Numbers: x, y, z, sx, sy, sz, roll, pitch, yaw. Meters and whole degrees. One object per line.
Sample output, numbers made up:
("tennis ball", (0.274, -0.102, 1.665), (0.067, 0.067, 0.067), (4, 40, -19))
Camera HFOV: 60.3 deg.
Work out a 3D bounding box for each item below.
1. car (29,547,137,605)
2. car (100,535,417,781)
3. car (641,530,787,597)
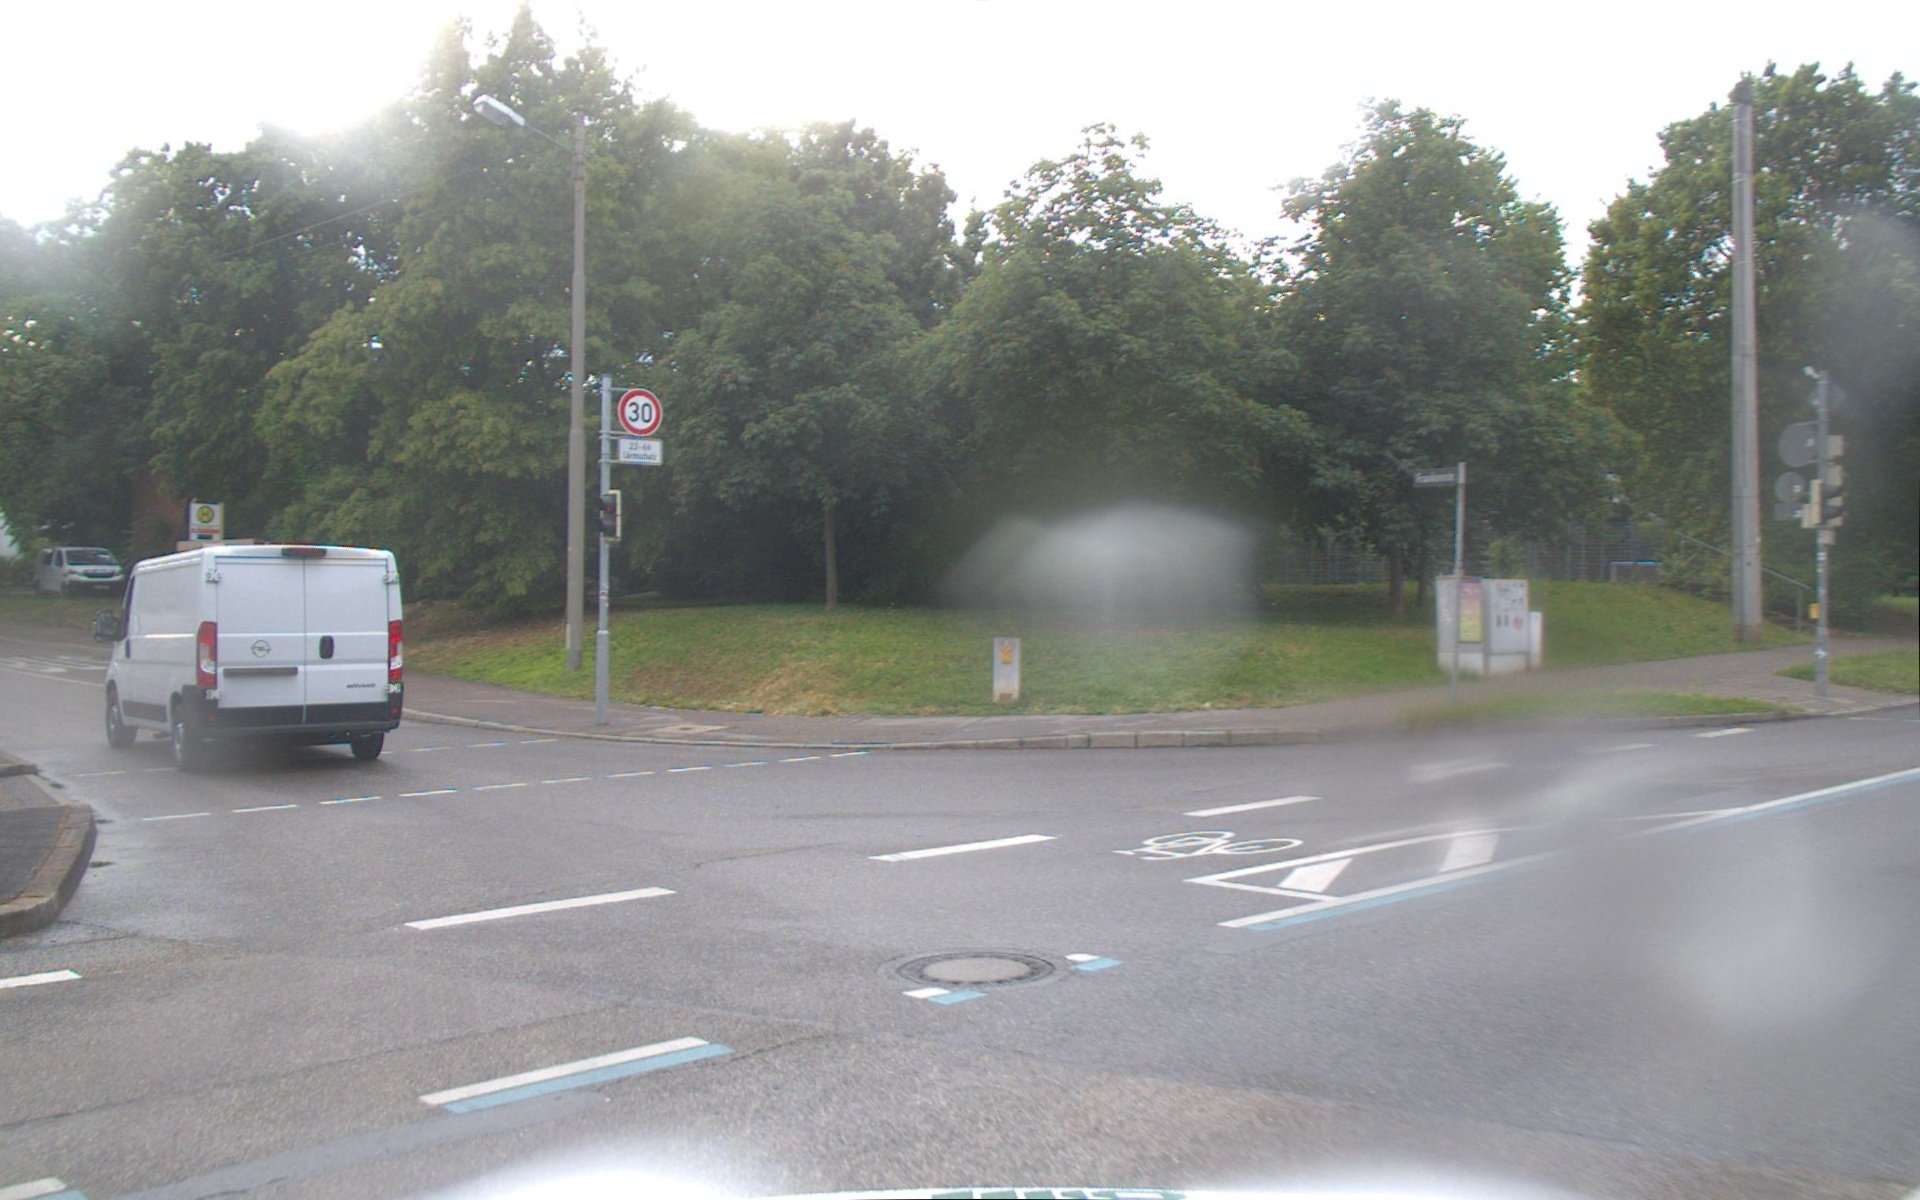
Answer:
("car", (-31.186, -0.872, 58.745), (1.985, 1.836, 5.064), (3, -1, -44))
("car", (-7.882, 0.538, 18.276), (2.130, 2.323, 4.997), (-1, 0, -36))
("car", (-7.918, -1.193, 53.282), (4.264, 1.809, 1.786), (-5, 3, -27))
